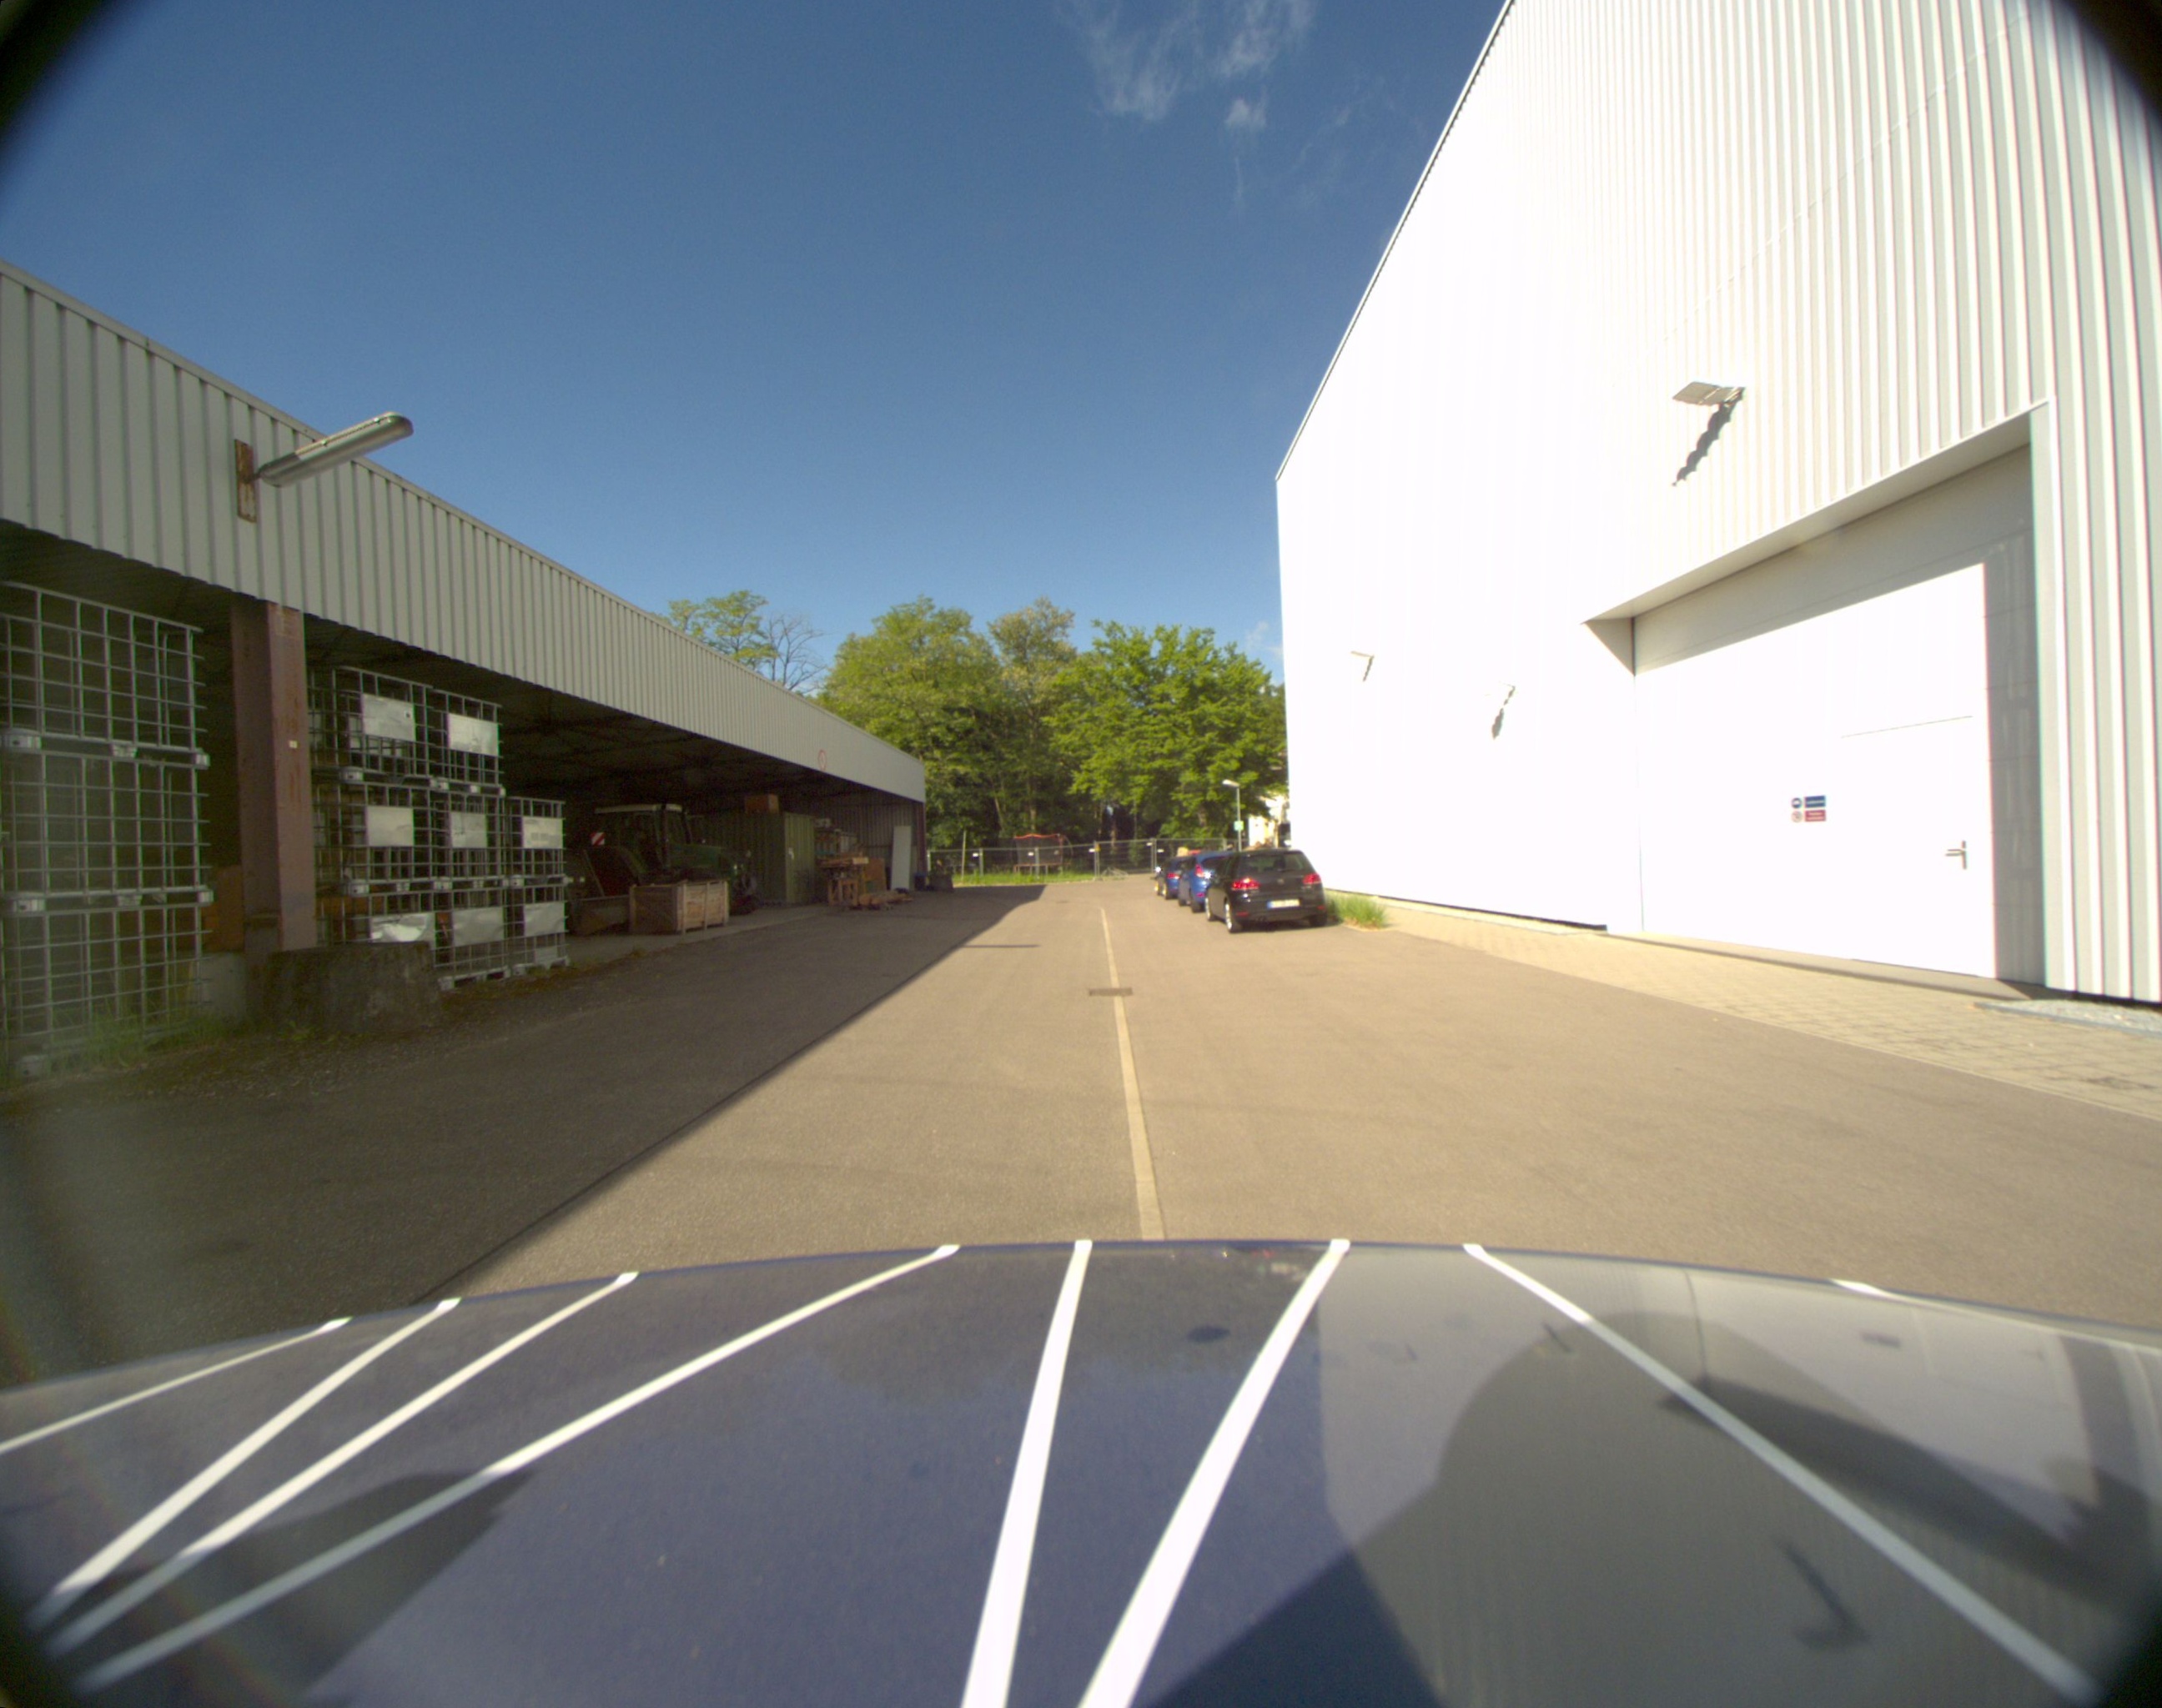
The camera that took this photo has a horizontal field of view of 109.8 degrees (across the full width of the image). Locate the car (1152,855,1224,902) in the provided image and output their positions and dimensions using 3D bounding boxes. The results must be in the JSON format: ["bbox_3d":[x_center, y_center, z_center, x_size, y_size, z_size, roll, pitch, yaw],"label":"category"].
[{"bbox_3d":[3.486,0.759,25.416,1.778,1.353,4.053,-3,0,0],"label":"car"}]

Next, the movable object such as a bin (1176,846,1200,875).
[{"bbox_3d":[6.192,0.376,44.061,1.093,1.588,1.230,-3,3,-5],"label":"movable object such as a bin"}]

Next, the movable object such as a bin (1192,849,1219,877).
[{"bbox_3d":[6.665,0.470,40.824,1.093,1.424,1.230,-4,1,-5],"label":"movable object such as a bin"}]

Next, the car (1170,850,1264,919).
[{"bbox_3d":[3.444,0.711,19.930,1.635,1.491,4.094,-5,0,0],"label":"car"}]

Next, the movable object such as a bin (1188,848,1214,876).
[{"bbox_3d":[6.643,0.430,42.158,1.093,1.431,1.230,-4,1,-5],"label":"movable object such as a bin"}]

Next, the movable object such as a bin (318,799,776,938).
[{"bbox_3d":[-12.980,0.349,19.110,9.214,2.893,3.212,-2,0,2],"label":"movable object such as a bin"}]

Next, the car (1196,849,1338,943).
[{"bbox_3d":[3.467,0.702,15.004,1.759,1.491,4.294,-4,0,1],"label":"car"}]

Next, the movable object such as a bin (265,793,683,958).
[{"bbox_3d":[-12.222,0.403,15.795,6.200,2.893,3.016,-2,0,2],"label":"movable object such as a bin"}]
